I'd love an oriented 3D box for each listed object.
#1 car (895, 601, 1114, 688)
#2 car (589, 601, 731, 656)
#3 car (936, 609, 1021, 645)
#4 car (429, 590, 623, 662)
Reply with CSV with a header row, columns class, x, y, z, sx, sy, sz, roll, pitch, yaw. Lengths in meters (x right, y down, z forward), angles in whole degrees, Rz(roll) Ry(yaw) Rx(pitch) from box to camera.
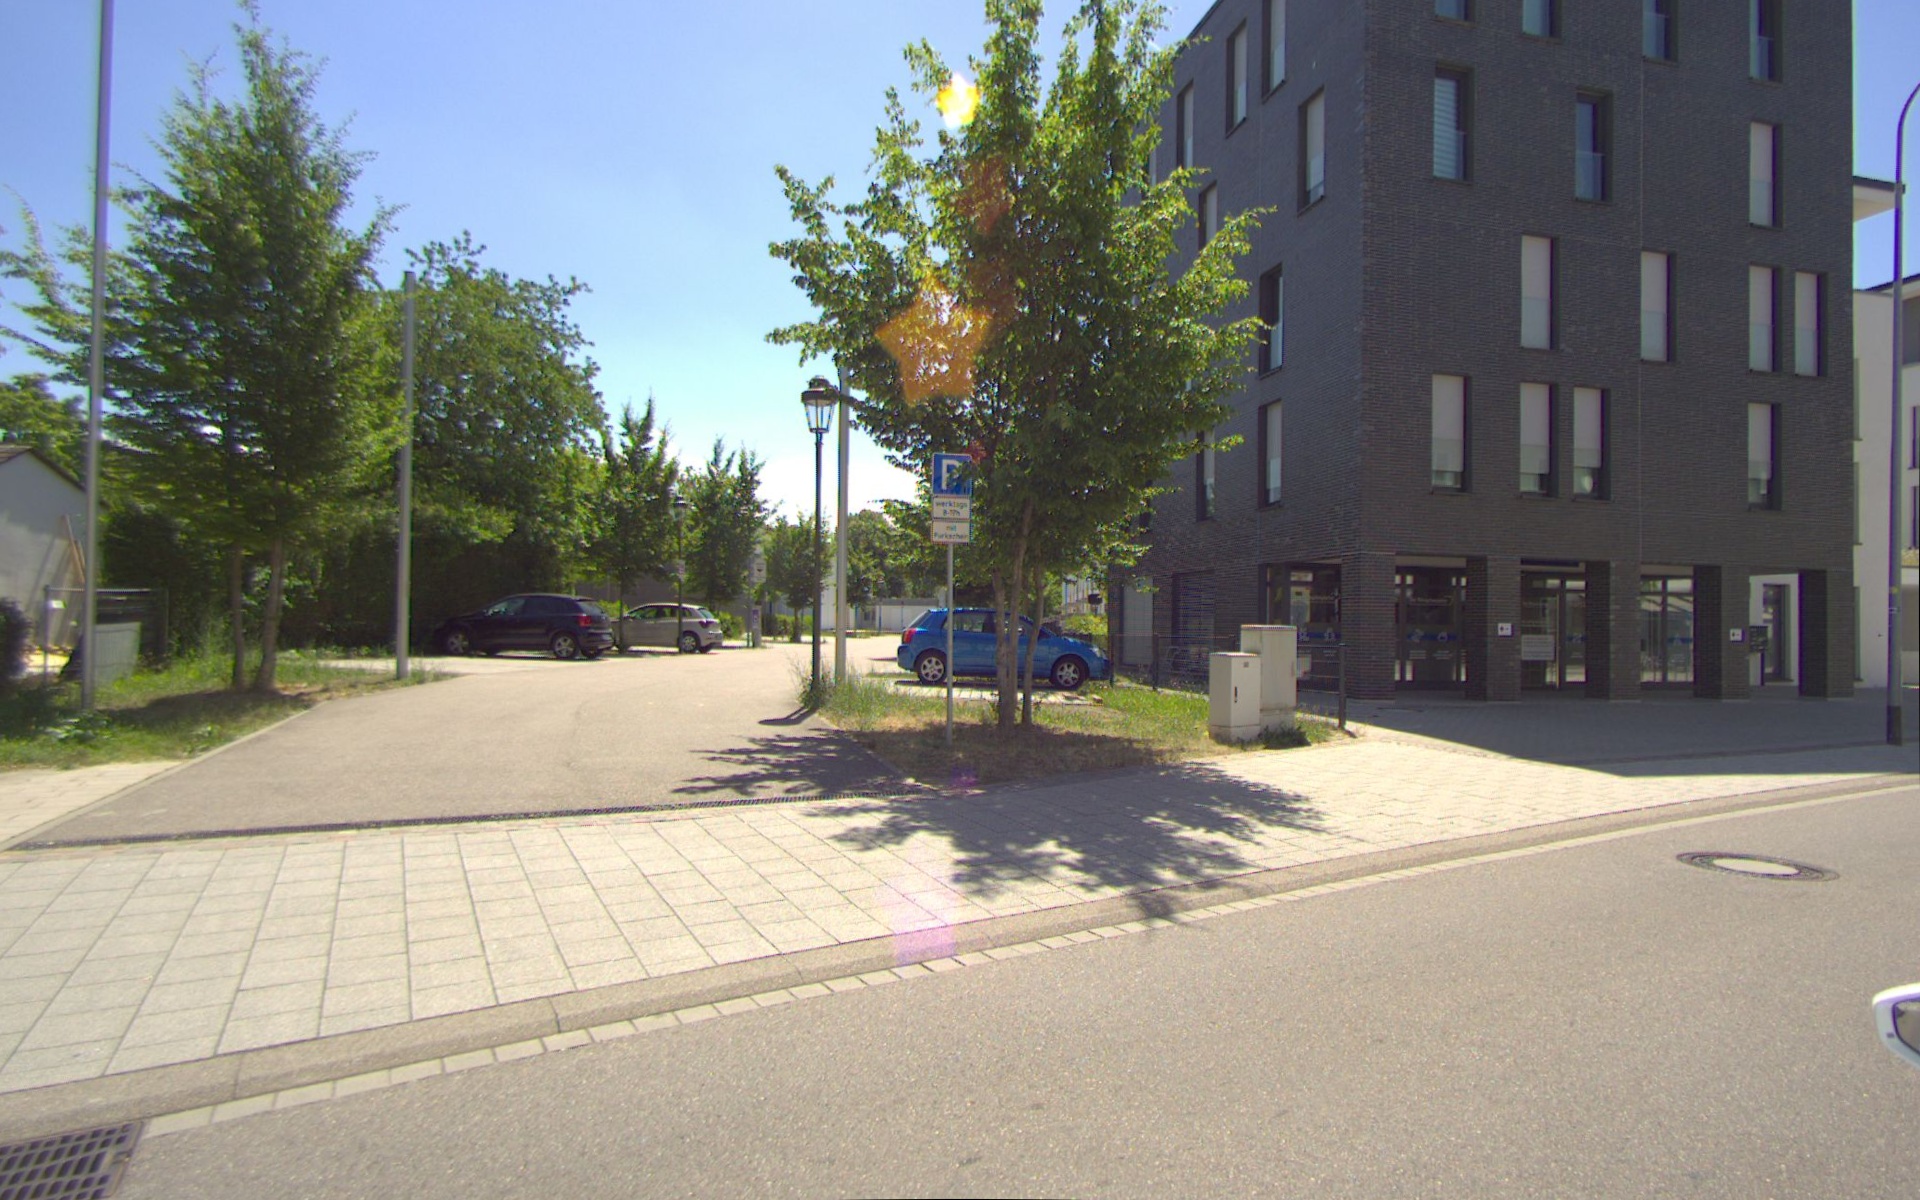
class,x,y,z,sx,sy,sz,roll,pitch,yaw
car,0.807,0.836,19.315,4.000,1.505,1.700,1,-1,-1
car,-8.930,0.833,30.095,3.692,1.511,1.692,1,-1,2
car,1.000,1.496,56.745,4.690,1.886,2.000,1,-1,-1
car,-9.850,0.586,23.010,3.695,1.511,1.690,1,-1,-4
